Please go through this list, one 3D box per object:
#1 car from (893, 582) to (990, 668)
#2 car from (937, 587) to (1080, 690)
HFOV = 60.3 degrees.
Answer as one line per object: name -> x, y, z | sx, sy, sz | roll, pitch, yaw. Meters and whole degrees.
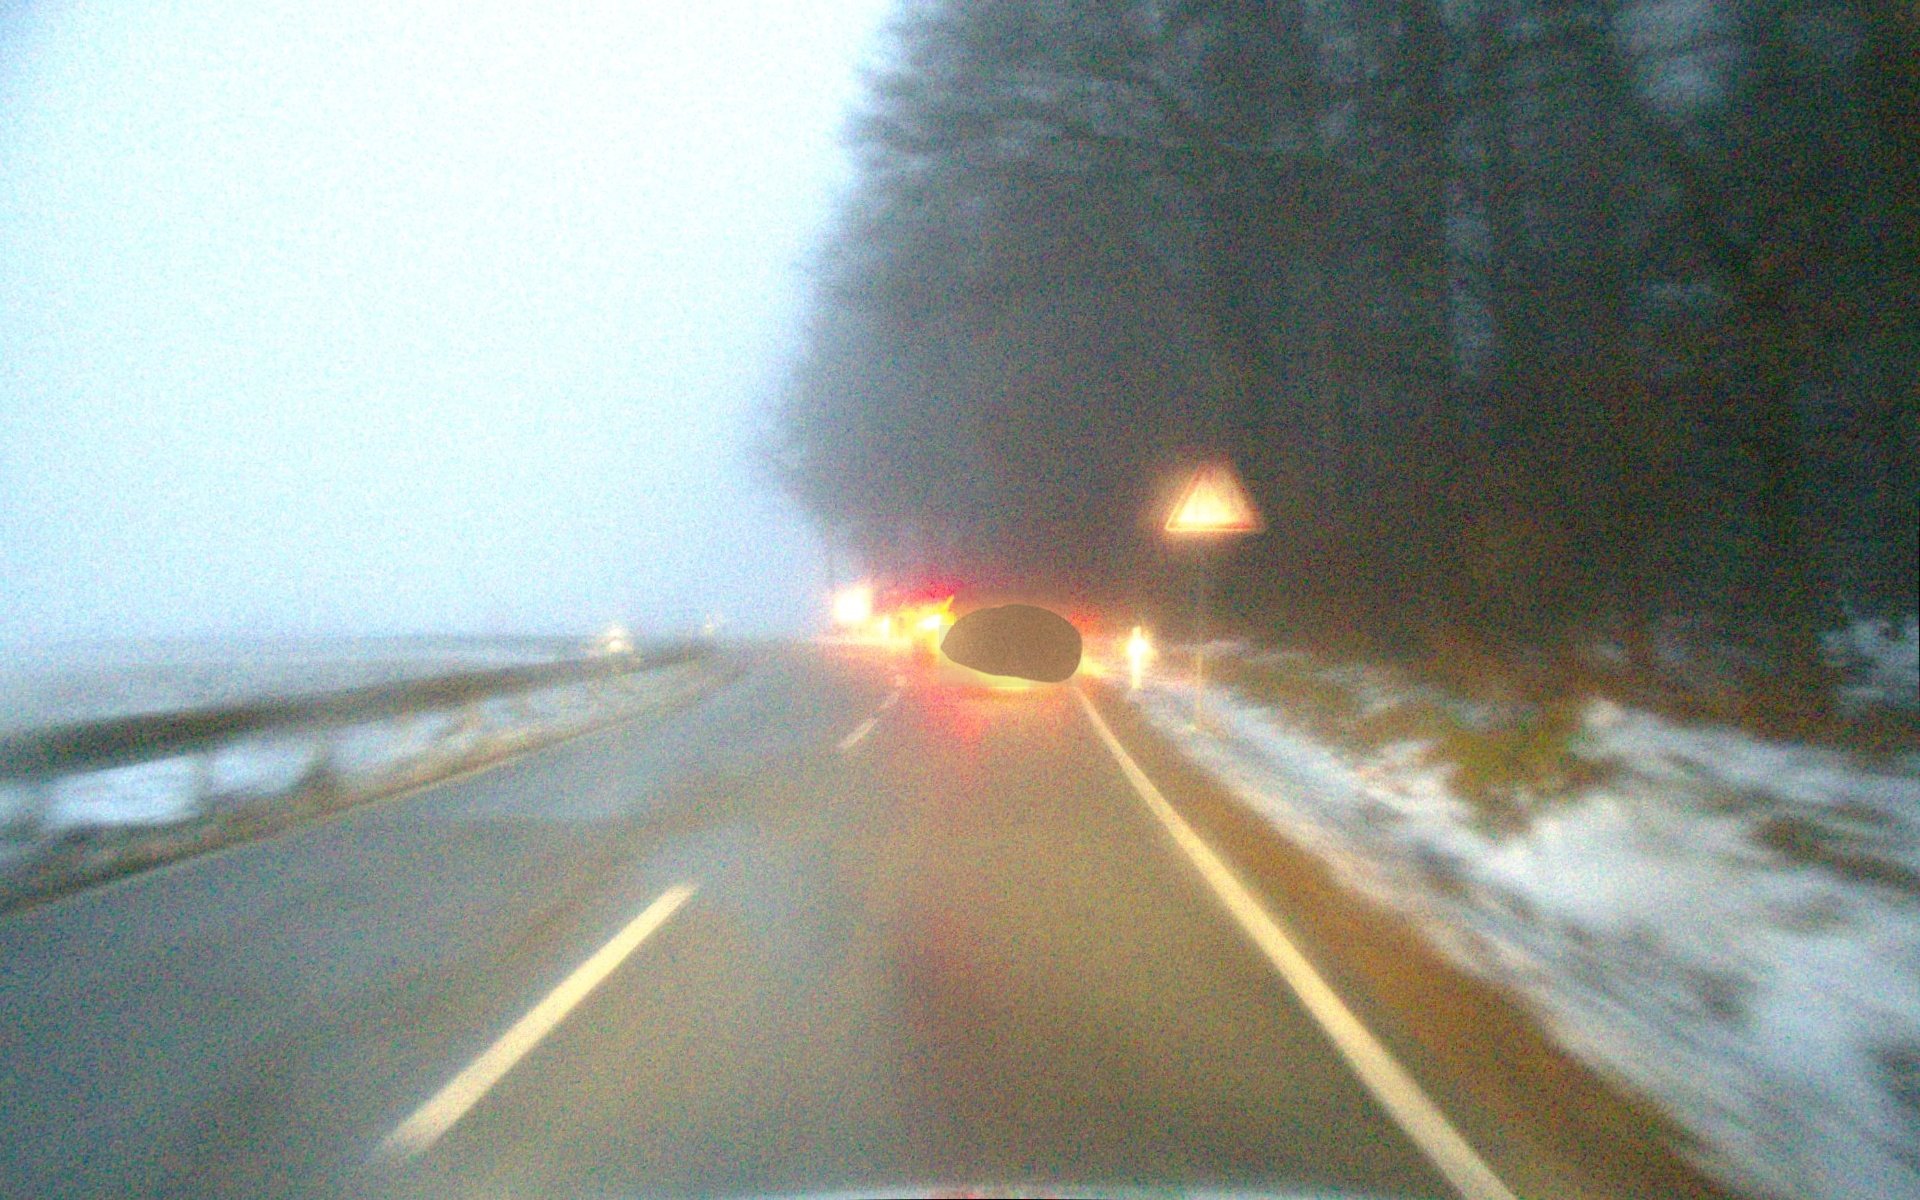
car -> -0.471, 0.544, 37.913 | 1.954, 1.814, 3.997 | 1, 0, -4
car -> 0.673, 0.574, 25.845 | 1.907, 1.405, 3.998 | 3, -1, -2
